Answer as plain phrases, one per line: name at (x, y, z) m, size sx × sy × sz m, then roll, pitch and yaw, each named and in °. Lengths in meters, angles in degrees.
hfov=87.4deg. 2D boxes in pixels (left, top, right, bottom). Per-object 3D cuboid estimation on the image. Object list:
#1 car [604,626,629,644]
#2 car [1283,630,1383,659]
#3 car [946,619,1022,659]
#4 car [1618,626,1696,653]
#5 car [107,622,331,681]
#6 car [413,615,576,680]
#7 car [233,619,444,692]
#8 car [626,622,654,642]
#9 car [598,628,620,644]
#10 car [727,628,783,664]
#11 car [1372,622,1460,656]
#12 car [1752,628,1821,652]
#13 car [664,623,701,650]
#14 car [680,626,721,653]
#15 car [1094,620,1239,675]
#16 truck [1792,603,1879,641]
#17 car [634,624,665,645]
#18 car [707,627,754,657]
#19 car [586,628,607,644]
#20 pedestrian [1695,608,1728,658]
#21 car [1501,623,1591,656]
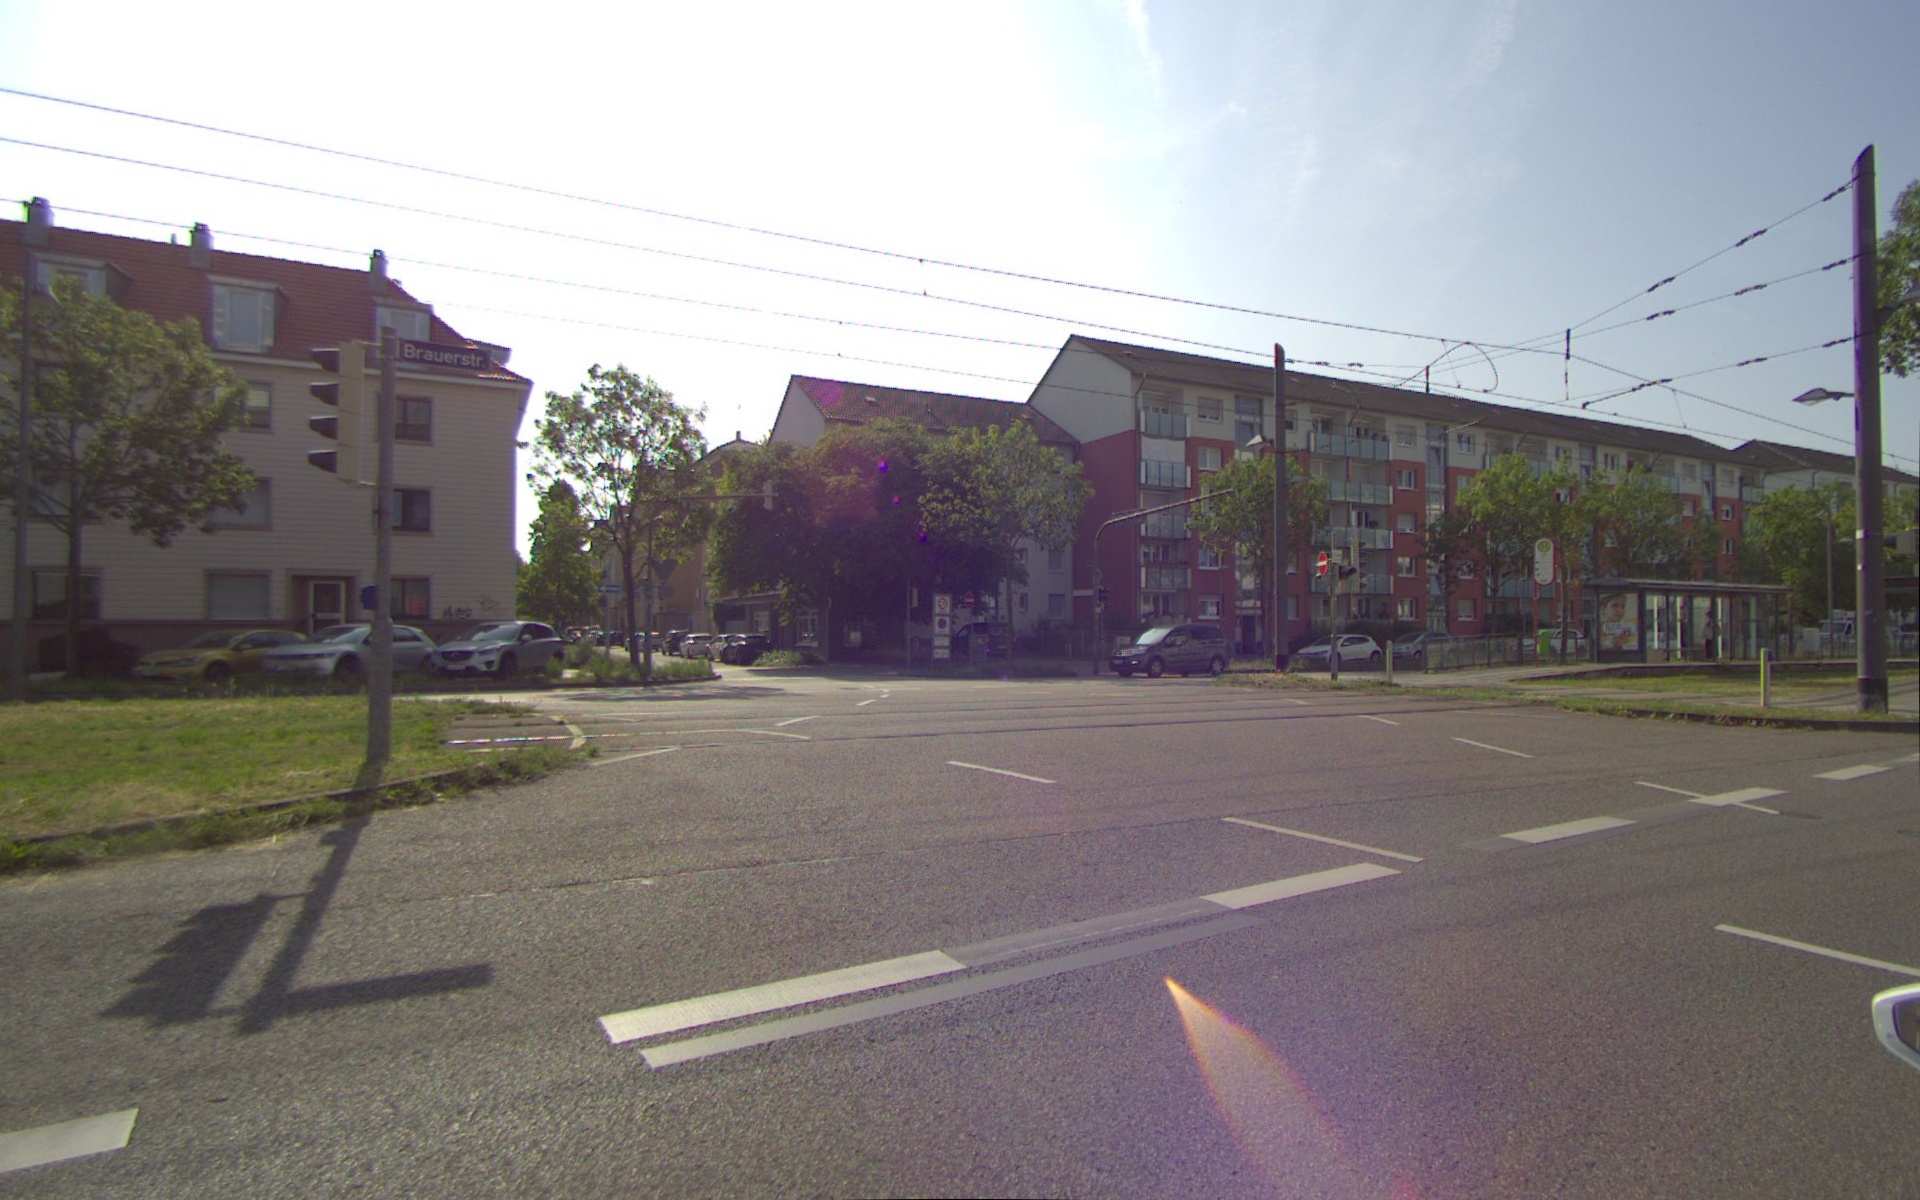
car at (-32.569, 3.317, 95.190) m, size 1.796 × 1.495 × 3.976 m, roll 1°, pitch 0°, yaw -24°
car at (16.303, 1.944, 43.902) m, size 4.113 × 1.163 × 1.826 m, roll 1°, pitch 0°, yaw -28°
car at (1.073, 1.805, 47.533) m, size 1.974 × 1.717 × 3.973 m, roll 1°, pitch 0°, yaw -26°
car at (38.748, 2.208, 55.847) m, size 4.018 × 1.378 × 1.973 m, roll 1°, pitch 0°, yaw -28°
car at (-17.643, 1.177, 24.177) m, size 1.959 × 1.194 × 4.002 m, roll 1°, pitch 0°, yaw 14°
car at (-12.153, 1.196, 26.606) m, size 1.924 × 1.483 × 4.355 m, roll 1°, pitch 0°, yaw 6°
car at (-15.184, 1.290, 24.873) m, size 1.959 × 1.534 × 4.467 m, roll 1°, pitch 0°, yaw 9°
car at (-26.478, 2.632, 83.027) m, size 1.796 × 1.495 × 3.976 m, roll 1°, pitch 0°, yaw -24°
car at (-35.577, 3.656, 101.834) m, size 1.796 × 1.495 × 3.976 m, roll 1°, pitch 0°, yaw -24°
car at (-10.682, 2.361, 52.131) m, size 1.972 × 1.627 × 3.976 m, roll 1°, pitch 0°, yaw -24°
car at (21.281, 1.803, 46.872) m, size 3.779 × 1.490 × 1.826 m, roll 1°, pitch 0°, yaw -28°
car at (51.673, 2.507, 62.786) m, size 4.018 × 1.378 × 1.973 m, roll 1°, pitch 0°, yaw -28°
car at (-18.959, 2.455, 68.563) m, size 1.905 × 1.663 × 3.977 m, roll 1°, pitch 0°, yaw -23°
car at (-16.180, 2.456, 62.544) m, size 1.796 × 1.495 × 3.976 m, roll 1°, pitch 0°, yaw -24°
car at (7.013, 1.577, 33.986) m, size 4.655 × 1.728 × 1.985 m, roll 1°, pitch -1°, yaw -29°
truck at (63.059, 1.608, 72.344) m, size 7.151 × 2.597 × 2.356 m, roll 1°, pitch 0°, yaw -28°
car at (-24.171, 2.678, 78.123) m, size 1.796 × 1.495 × 3.976 m, roll 1°, pitch 0°, yaw -24°
car at (-12.984, 2.341, 56.640) m, size 1.796 × 1.495 × 3.976 m, roll 1°, pitch 0°, yaw -24°
car at (-39.073, 3.857, 107.844) m, size 1.796 × 1.495 × 3.976 m, roll 1°, pitch 0°, yaw -24°
pedestrian at (25.711, 1.139, 34.369) m, size 0.786 × 1.675 × 0.668 m, roll 1°, pitch -2°, yaw -32°
car at (30.034, 2.006, 51.465) m, size 4.480 × 1.577 × 1.973 m, roll 1°, pitch 0°, yaw -28°
